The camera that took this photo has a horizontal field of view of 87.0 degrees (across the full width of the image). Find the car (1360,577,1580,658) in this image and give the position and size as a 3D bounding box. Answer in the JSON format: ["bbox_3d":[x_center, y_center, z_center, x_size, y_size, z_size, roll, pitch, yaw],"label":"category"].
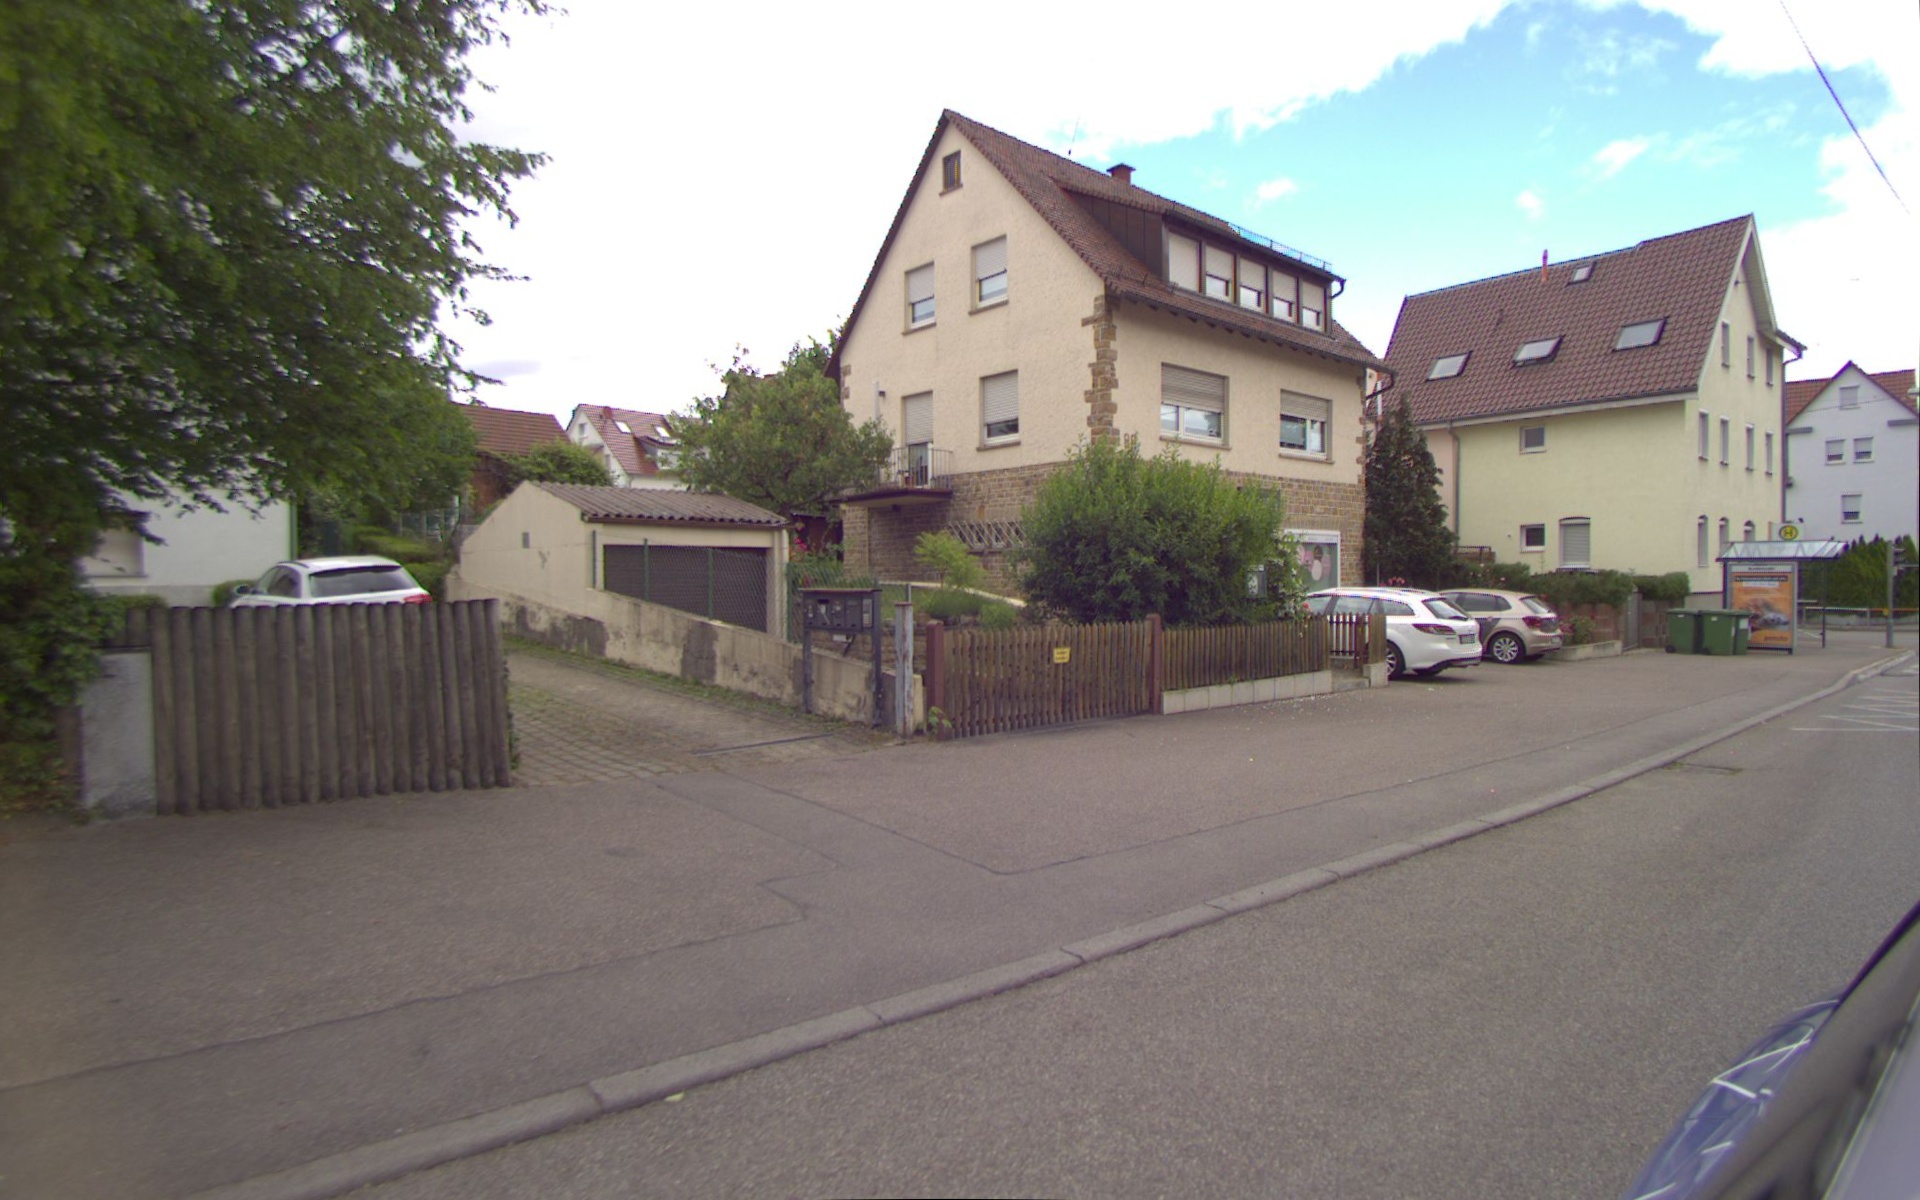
[{"bbox_3d":[10.609,0.287,21.229,1.613,1.418,3.808,-2,4,-43],"label":"car"}]

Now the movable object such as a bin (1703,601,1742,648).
[{"bbox_3d":[17.808,0.570,23.627,0.636,1.059,0.577,-2,0,44],"label":"movable object such as a bin"}]

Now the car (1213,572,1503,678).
[{"bbox_3d":[6.820,0.317,17.773,1.832,1.506,4.431,-2,4,-39],"label":"car"}]

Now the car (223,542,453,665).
[{"bbox_3d":[-9.121,-0.015,14.712,4.082,1.411,1.808,1,7,44],"label":"car"}]

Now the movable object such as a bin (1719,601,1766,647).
[{"bbox_3d":[18.501,0.555,23.930,0.579,1.059,0.639,-2,0,-14],"label":"movable object such as a bin"}]

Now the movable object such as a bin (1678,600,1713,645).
[{"bbox_3d":[17.805,0.535,24.498,0.636,1.059,0.577,0,2,44],"label":"movable object such as a bin"}]

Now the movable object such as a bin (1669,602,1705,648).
[{"bbox_3d":[17.327,0.579,24.118,0.636,1.059,0.577,0,2,44],"label":"movable object such as a bin"}]
